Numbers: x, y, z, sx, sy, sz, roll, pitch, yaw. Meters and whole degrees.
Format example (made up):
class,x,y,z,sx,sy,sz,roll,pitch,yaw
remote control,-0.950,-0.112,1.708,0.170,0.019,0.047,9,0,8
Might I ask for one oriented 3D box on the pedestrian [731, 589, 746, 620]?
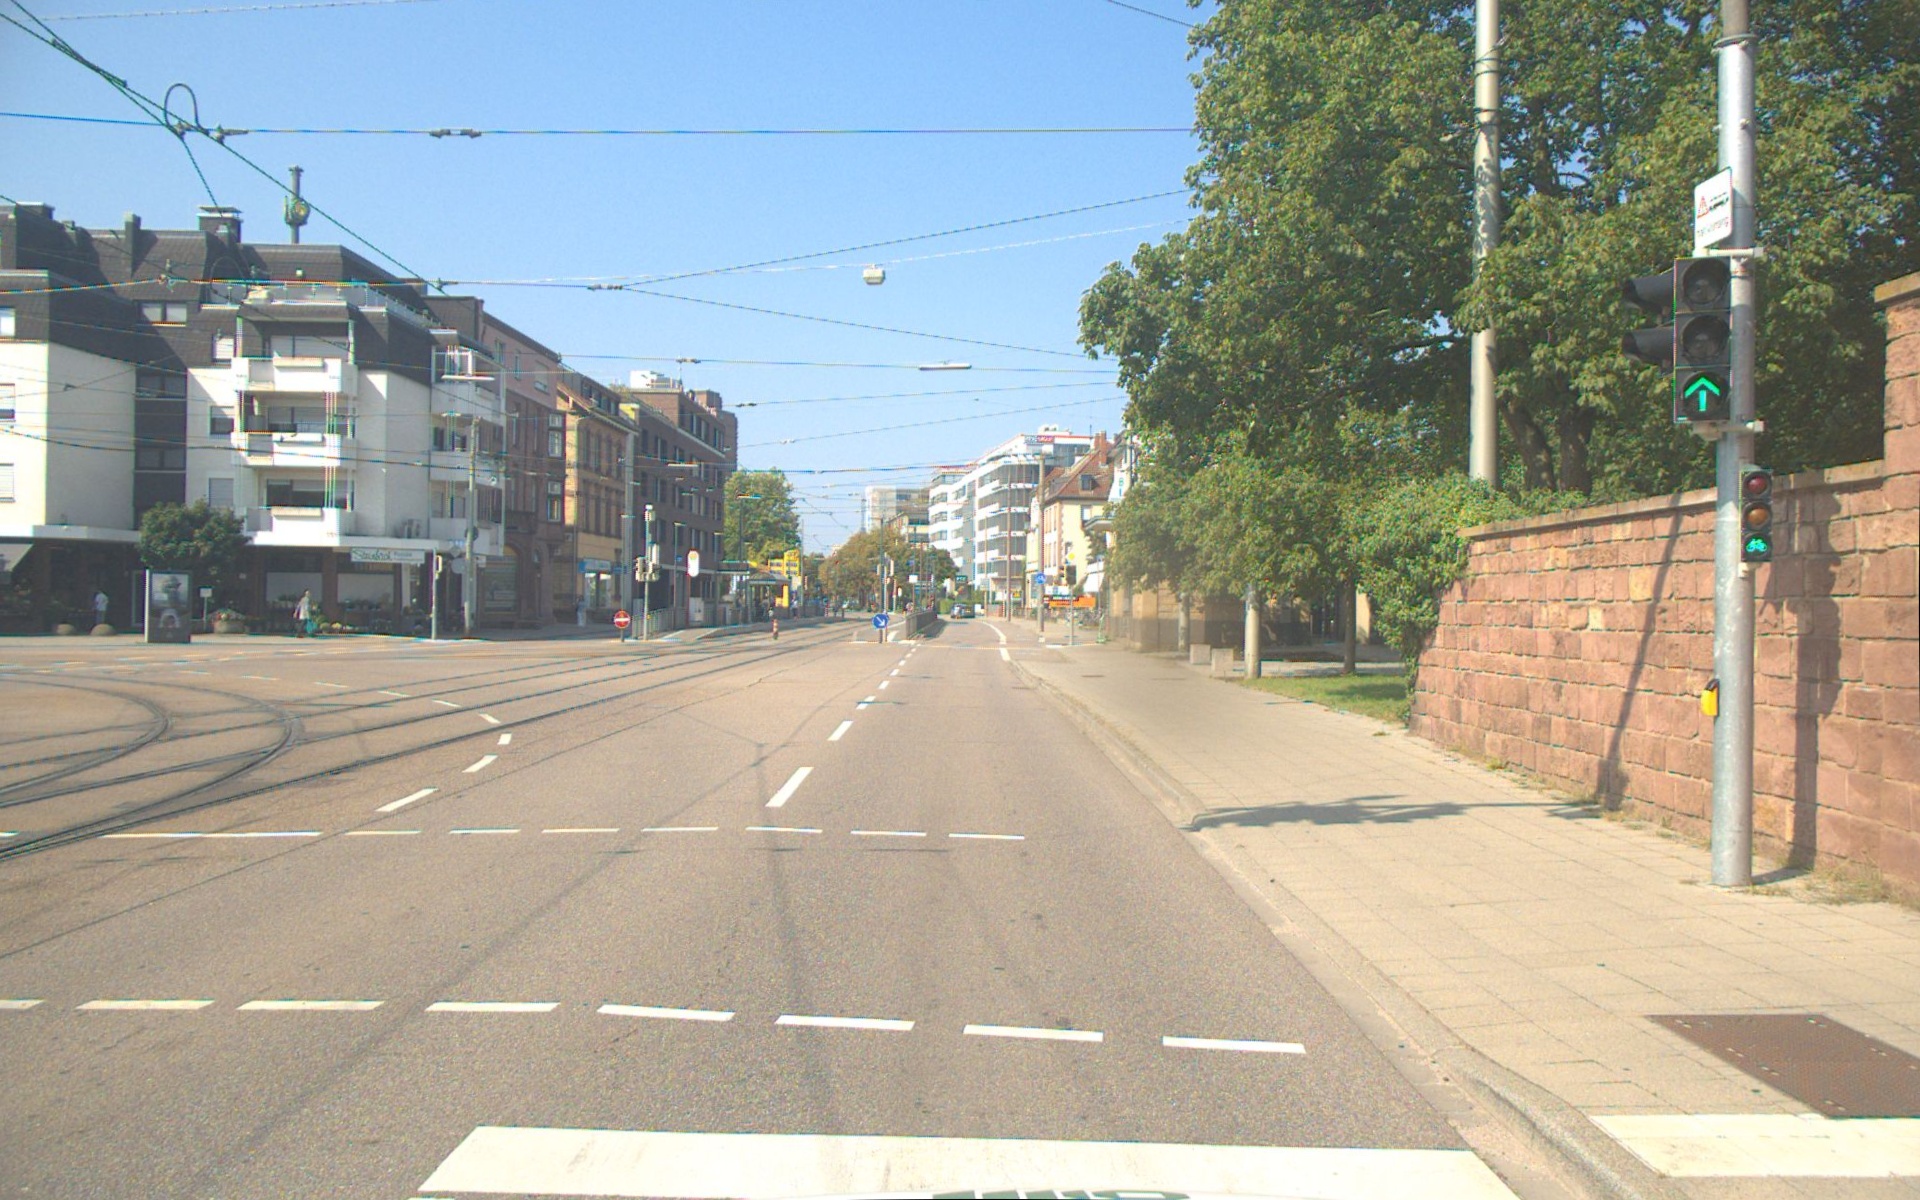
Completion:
class,x,y,z,sx,sy,sz,roll,pitch,yaw
pedestrian,-12.617,0.267,94.110,0.693,1.754,0.799,-1,-1,1

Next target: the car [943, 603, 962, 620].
class,x,y,z,sx,sy,sz,roll,pitch,yaw
car,-0.868,1.372,191.822,1.970,1.891,4.000,-1,-1,1

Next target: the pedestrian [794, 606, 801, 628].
class,x,y,z,sx,sy,sz,roll,pitch,yaw
pedestrian,-11.729,1.208,119.456,0.522,1.557,0.701,-1,-1,-6

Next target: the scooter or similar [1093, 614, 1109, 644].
class,x,y,z,sx,sy,sz,roll,pitch,yaw
scooter or similar,5.470,1.127,64.110,0.512,1.153,1.511,-1,-1,1

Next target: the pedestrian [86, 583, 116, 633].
class,x,y,z,sx,sy,sz,roll,pitch,yaw
pedestrian,-31.017,0.284,59.733,0.665,1.771,0.698,-1,-1,1

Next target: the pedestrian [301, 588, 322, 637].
class,x,y,z,sx,sy,sz,roll,pitch,yaw
pedestrian,-23.605,0.454,60.168,0.593,1.776,0.559,-1,-1,-33

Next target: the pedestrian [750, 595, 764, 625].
class,x,y,z,sx,sy,sz,roll,pitch,yaw
pedestrian,-12.450,0.618,101.390,0.693,1.778,0.799,-1,-1,1

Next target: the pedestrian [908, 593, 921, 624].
class,x,y,z,sx,sy,sz,roll,pitch,yaw
pedestrian,-2.586,0.509,93.941,0.705,1.733,0.884,-1,-1,1

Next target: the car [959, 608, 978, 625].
class,x,y,z,sx,sy,sz,roll,pitch,yaw
car,0.939,1.838,185.607,1.970,1.891,4.000,-1,-1,1

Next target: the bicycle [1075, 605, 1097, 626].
class,x,y,z,sx,sy,sz,roll,pitch,yaw
bicycle,7.293,0.893,96.000,0.717,1.152,2.835,-3,0,-7

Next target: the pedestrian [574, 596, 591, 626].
class,x,y,z,sx,sy,sz,roll,pitch,yaw
pedestrian,-20.196,0.574,88.522,0.472,1.587,0.888,1,-2,11
